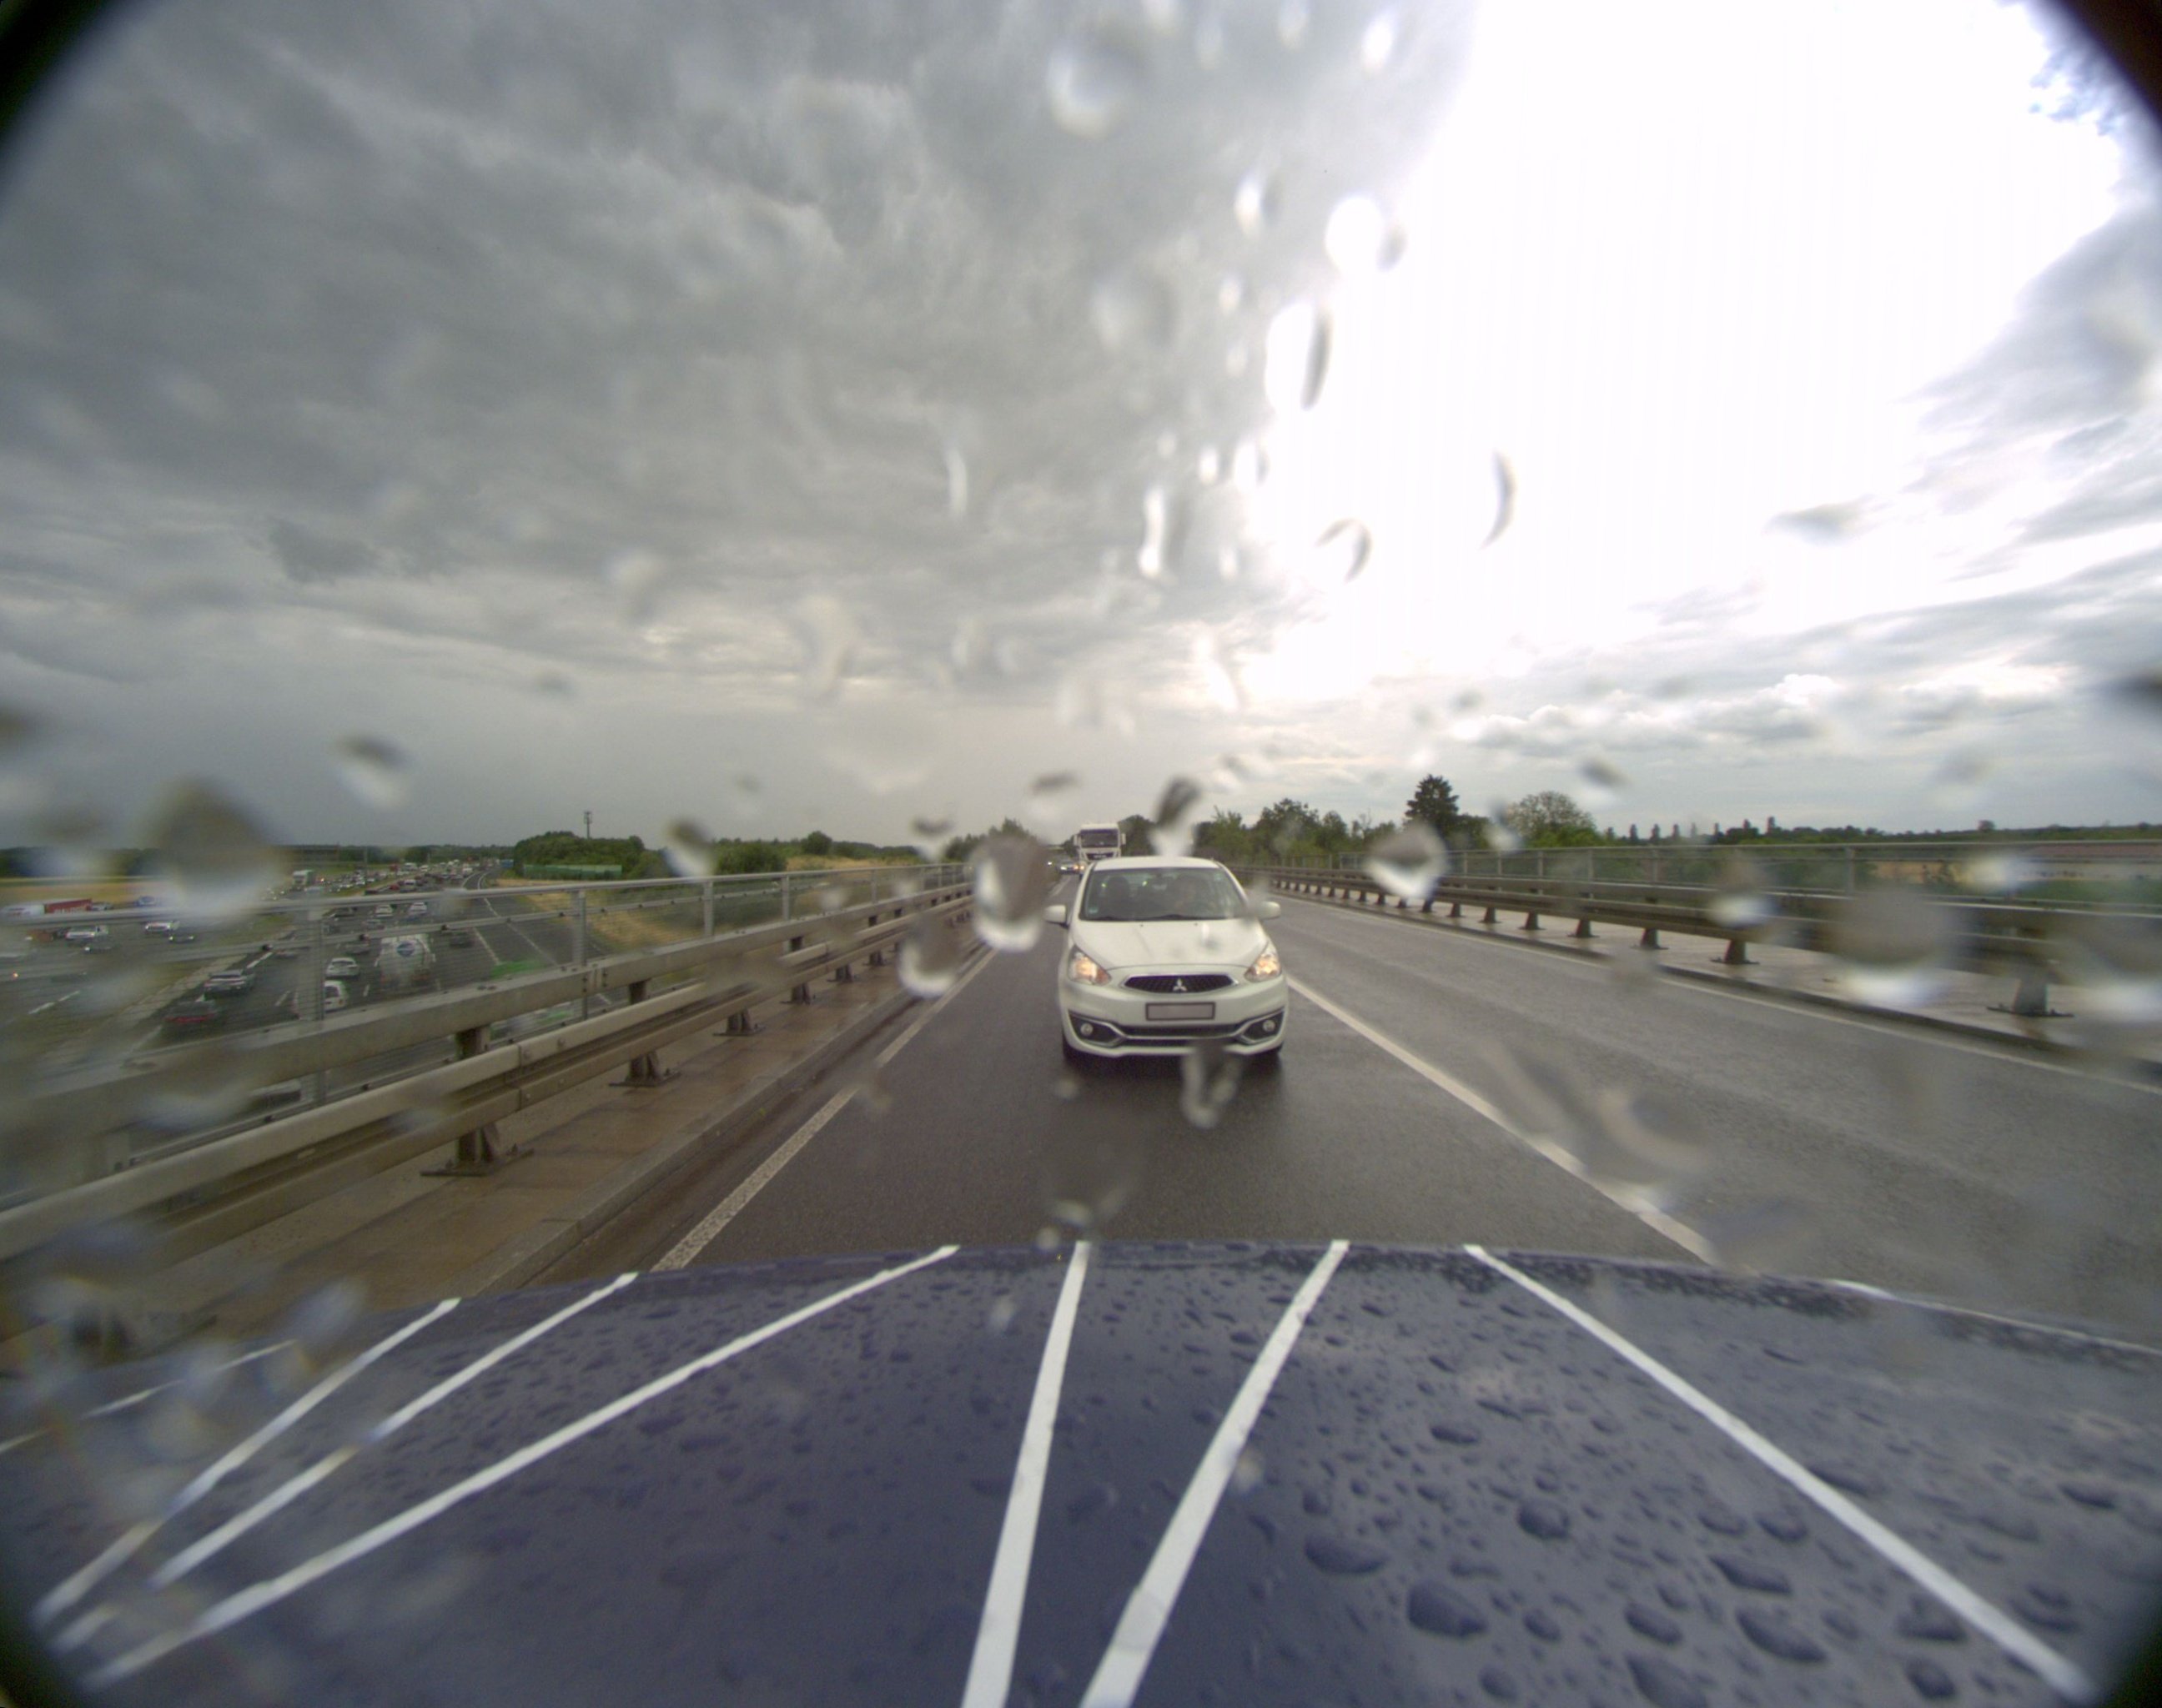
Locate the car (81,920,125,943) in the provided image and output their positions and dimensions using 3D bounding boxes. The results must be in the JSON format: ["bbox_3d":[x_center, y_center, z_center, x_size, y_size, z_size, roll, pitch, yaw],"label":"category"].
[{"bbox_3d":[-101.334,7.982,78.754,1.818,1.873,4.711,-3,1,-41],"label":"car"}]

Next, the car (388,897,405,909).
[{"bbox_3d":[-113.380,8.115,125.848,1.860,1.764,4.711,-3,1,-40],"label":"car"}]

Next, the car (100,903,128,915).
[{"bbox_3d":[-148.211,8.402,116.481,1.818,1.428,4.711,-3,1,-41],"label":"car"}]

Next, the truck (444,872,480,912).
[{"bbox_3d":[-90.212,5.344,110.573,3.499,5.322,15.587,-3,1,-40],"label":"truck"}]

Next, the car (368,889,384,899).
[{"bbox_3d":[-136.725,7.742,147.340,1.860,1.764,4.711,-3,1,-40],"label":"car"}]

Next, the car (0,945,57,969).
[{"bbox_3d":[-91.924,8.947,66.430,1.818,1.428,4.711,-3,1,-41],"label":"car"}]

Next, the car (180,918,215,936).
[{"bbox_3d":[-96.523,7.961,83.073,1.818,1.428,4.711,-3,1,-41],"label":"car"}]

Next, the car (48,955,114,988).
[{"bbox_3d":[-73.929,8.636,56.256,1.818,1.659,4.711,-3,1,-39],"label":"car"}]

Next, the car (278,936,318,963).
[{"bbox_3d":[-68.747,8.322,66.769,1.860,1.764,4.711,-3,1,-40],"label":"car"}]

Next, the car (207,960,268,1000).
[{"bbox_3d":[-53.896,7.996,48.636,1.860,1.764,4.711,-3,1,-40],"label":"car"}]

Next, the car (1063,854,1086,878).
[{"bbox_3d":[-0.643,1.186,74.899,1.998,2.002,3.999,-5,2,1],"label":"car"}]

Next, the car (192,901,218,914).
[{"bbox_3d":[-134.317,8.251,116.561,1.818,1.659,4.711,-3,1,-40],"label":"car"}]

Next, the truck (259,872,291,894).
[{"bbox_3d":[-191.546,6.861,180.635,2.799,4.872,12.723,-3,1,-36],"label":"truck"}]

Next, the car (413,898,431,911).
[{"bbox_3d":[-102.537,7.804,118.250,1.860,1.764,4.711,-3,1,-40],"label":"car"}]

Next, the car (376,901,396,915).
[{"bbox_3d":[-101.923,7.917,111.507,1.860,1.764,4.711,-3,1,-40],"label":"car"}]

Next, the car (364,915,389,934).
[{"bbox_3d":[-82.407,8.204,88.950,1.860,1.764,4.711,-3,1,-40],"label":"car"}]

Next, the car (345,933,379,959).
[{"bbox_3d":[-64.947,8.302,68.700,1.860,1.764,4.711,-3,1,-40],"label":"car"}]

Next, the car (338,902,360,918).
[{"bbox_3d":[-103.080,7.863,106.995,1.860,1.764,4.711,-3,1,-40],"label":"car"}]

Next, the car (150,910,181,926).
[{"bbox_3d":[-121.337,8.485,100.732,1.818,1.659,4.711,-3,1,-40],"label":"car"}]

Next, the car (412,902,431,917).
[{"bbox_3d":[-91.858,7.745,105.865,1.860,1.764,4.711,-3,1,-40],"label":"car"}]

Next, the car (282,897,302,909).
[{"bbox_3d":[-137.122,8.508,132.056,1.860,1.659,4.711,-3,1,-40],"label":"car"}]

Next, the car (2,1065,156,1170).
[{"bbox_3d":[-31.449,8.174,24.030,1.860,1.659,4.711,-3,1,-40],"label":"car"}]

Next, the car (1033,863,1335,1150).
[{"bbox_3d":[0.617,0.901,6.395,1.675,1.476,4.129,-2,1,1],"label":"car"}]

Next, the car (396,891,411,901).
[{"bbox_3d":[-129.124,8.009,144.883,1.860,1.764,4.711,-3,1,-40],"label":"car"}]

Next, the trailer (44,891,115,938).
[{"bbox_3d":[-114.084,6.779,86.708,2.691,4.602,9.882,-3,1,-40],"label":"trailer"}]

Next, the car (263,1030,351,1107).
[{"bbox_3d":[-30.045,8.240,29.618,1.860,1.659,4.711,-3,1,-40],"label":"car"}]

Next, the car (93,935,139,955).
[{"bbox_3d":[-93.136,8.755,73.368,1.818,1.428,4.711,-3,1,-41],"label":"car"}]

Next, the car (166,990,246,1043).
[{"bbox_3d":[-44.284,8.172,38.573,1.860,1.659,4.711,-3,1,-40],"label":"car"}]

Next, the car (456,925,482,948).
[{"bbox_3d":[-60.919,8.126,75.598,1.860,1.764,4.711,-3,1,-40],"label":"car"}]

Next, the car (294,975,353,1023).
[{"bbox_3d":[-42.518,8.088,42.719,1.860,1.764,4.711,-3,1,-40],"label":"car"}]

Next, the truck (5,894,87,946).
[{"bbox_3d":[-107.754,6.751,79.296,2.691,4.600,9.726,-3,1,-40],"label":"truck"}]

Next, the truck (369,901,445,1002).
[{"bbox_3d":[-46.829,6.354,53.092,3.302,5.411,15.587,-3,1,-40],"label":"truck"}]

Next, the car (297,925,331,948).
[{"bbox_3d":[-76.620,8.221,75.924,1.860,1.764,4.711,-3,1,-40],"label":"car"}]

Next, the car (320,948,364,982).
[{"bbox_3d":[-53.693,8.007,55.281,1.860,1.764,4.711,-3,1,-40],"label":"car"}]

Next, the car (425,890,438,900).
[{"bbox_3d":[-126.701,7.939,148.205,1.860,1.764,4.711,-3,1,-40],"label":"car"}]

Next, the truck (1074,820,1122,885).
[{"bbox_3d":[0.969,-0.265,47.675,2.630,3.537,8.473,-2,3,0],"label":"truck"}]

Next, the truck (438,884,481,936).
[{"bbox_3d":[-74.773,6.471,91.216,3.499,5.322,15.587,-3,1,-40],"label":"truck"}]

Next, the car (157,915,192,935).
[{"bbox_3d":[-106.079,8.304,88.945,1.818,1.836,4.711,-3,1,-41],"label":"car"}]

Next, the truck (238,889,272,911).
[{"bbox_3d":[-139.514,7.688,128.444,2.601,3.161,8.373,-3,1,-40],"label":"truck"}]

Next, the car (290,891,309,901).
[{"bbox_3d":[-146.405,7.909,142.320,1.860,1.659,4.711,-3,1,-40],"label":"car"}]

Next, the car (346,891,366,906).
[{"bbox_3d":[-113.581,7.005,119.023,2.003,2.003,3.989,-6,3,-43],"label":"car"}]

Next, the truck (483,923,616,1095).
[{"bbox_3d":[-24.742,6.305,34.794,3.302,5.135,15.587,-3,1,-40],"label":"truck"}]

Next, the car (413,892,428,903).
[{"bbox_3d":[-116.542,7.644,134.095,1.860,1.764,4.711,-3,1,-40],"label":"car"}]

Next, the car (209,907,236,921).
[{"bbox_3d":[-122.881,8.516,108.773,1.818,1.659,4.711,-3,1,-40],"label":"car"}]

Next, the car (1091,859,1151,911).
[{"bbox_3d":[1.173,0.903,23.904,1.675,1.367,4.129,-2,1,1],"label":"car"}]
